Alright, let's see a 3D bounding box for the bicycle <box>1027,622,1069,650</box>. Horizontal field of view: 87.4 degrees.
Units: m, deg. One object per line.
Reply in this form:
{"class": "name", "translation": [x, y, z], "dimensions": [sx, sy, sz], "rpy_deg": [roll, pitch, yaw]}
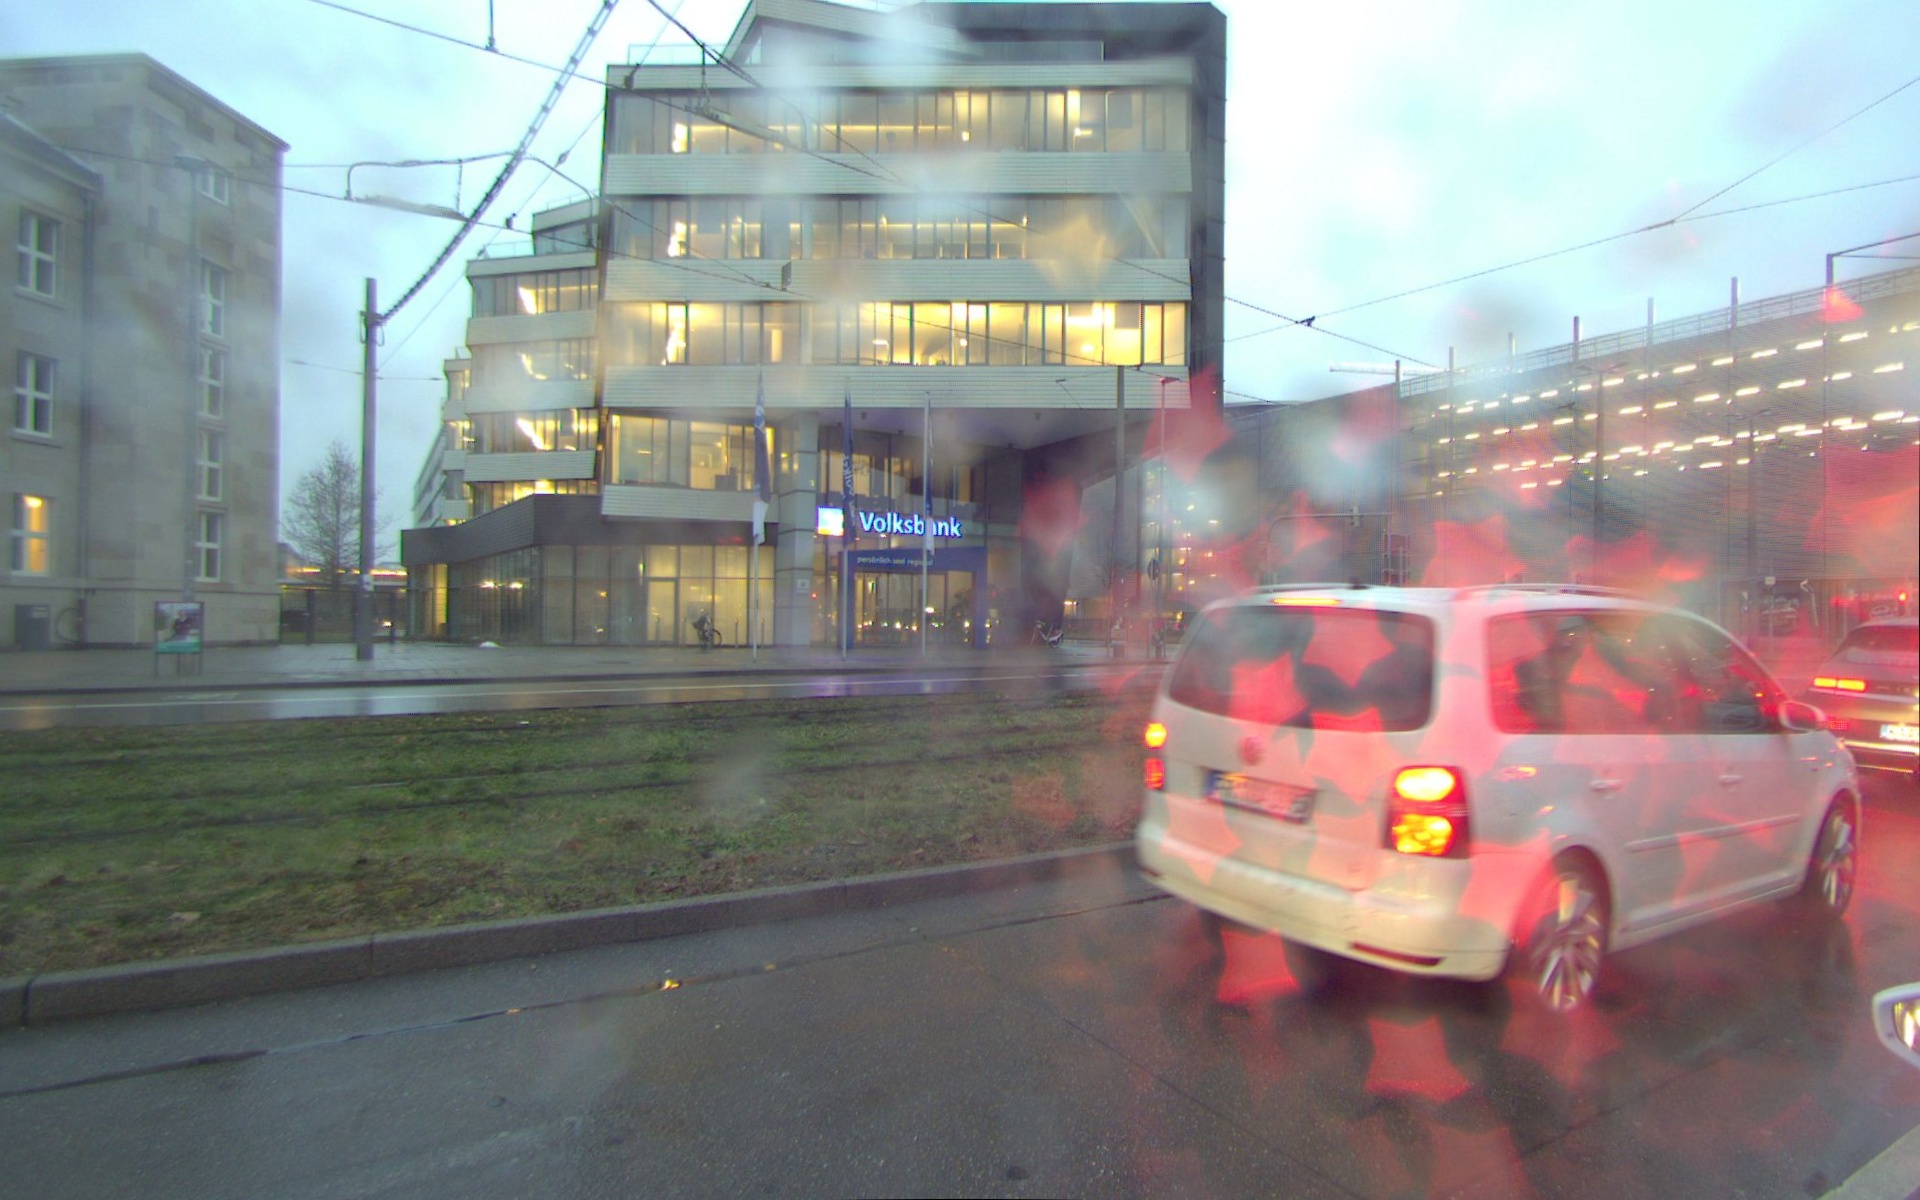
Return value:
{"class": "bicycle", "translation": [3.519, 1.435, 40.108], "dimensions": [1.588, 1.105, 0.553], "rpy_deg": [1, -1, -23]}

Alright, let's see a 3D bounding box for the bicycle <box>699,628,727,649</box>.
{"class": "bicycle", "translation": [-8.625, 1.344, 35.063], "dimensions": [0.896, 0.724, 0.483], "rpy_deg": [1, -1, -10]}

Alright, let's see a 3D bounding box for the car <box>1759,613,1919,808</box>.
{"class": "car", "translation": [9.358, 0.946, 9.497], "dimensions": [3.959, 1.595, 1.742], "rpy_deg": [1, -1, -34]}

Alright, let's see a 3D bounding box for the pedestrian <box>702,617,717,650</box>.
{"class": "pedestrian", "translation": [-8.564, 1.148, 34.359], "dimensions": [0.380, 1.103, 0.325], "rpy_deg": [0, -1, 5]}

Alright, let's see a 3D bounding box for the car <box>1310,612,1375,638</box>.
{"class": "car", "translation": [30.820, 2.018, 81.046], "dimensions": [1.782, 2.027, 4.806], "rpy_deg": [1, -1, -36]}

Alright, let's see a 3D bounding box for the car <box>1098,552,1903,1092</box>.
{"class": "car", "translation": [2.804, 0.689, 4.925], "dimensions": [4.102, 1.682, 1.660], "rpy_deg": [1, 1, -33]}
